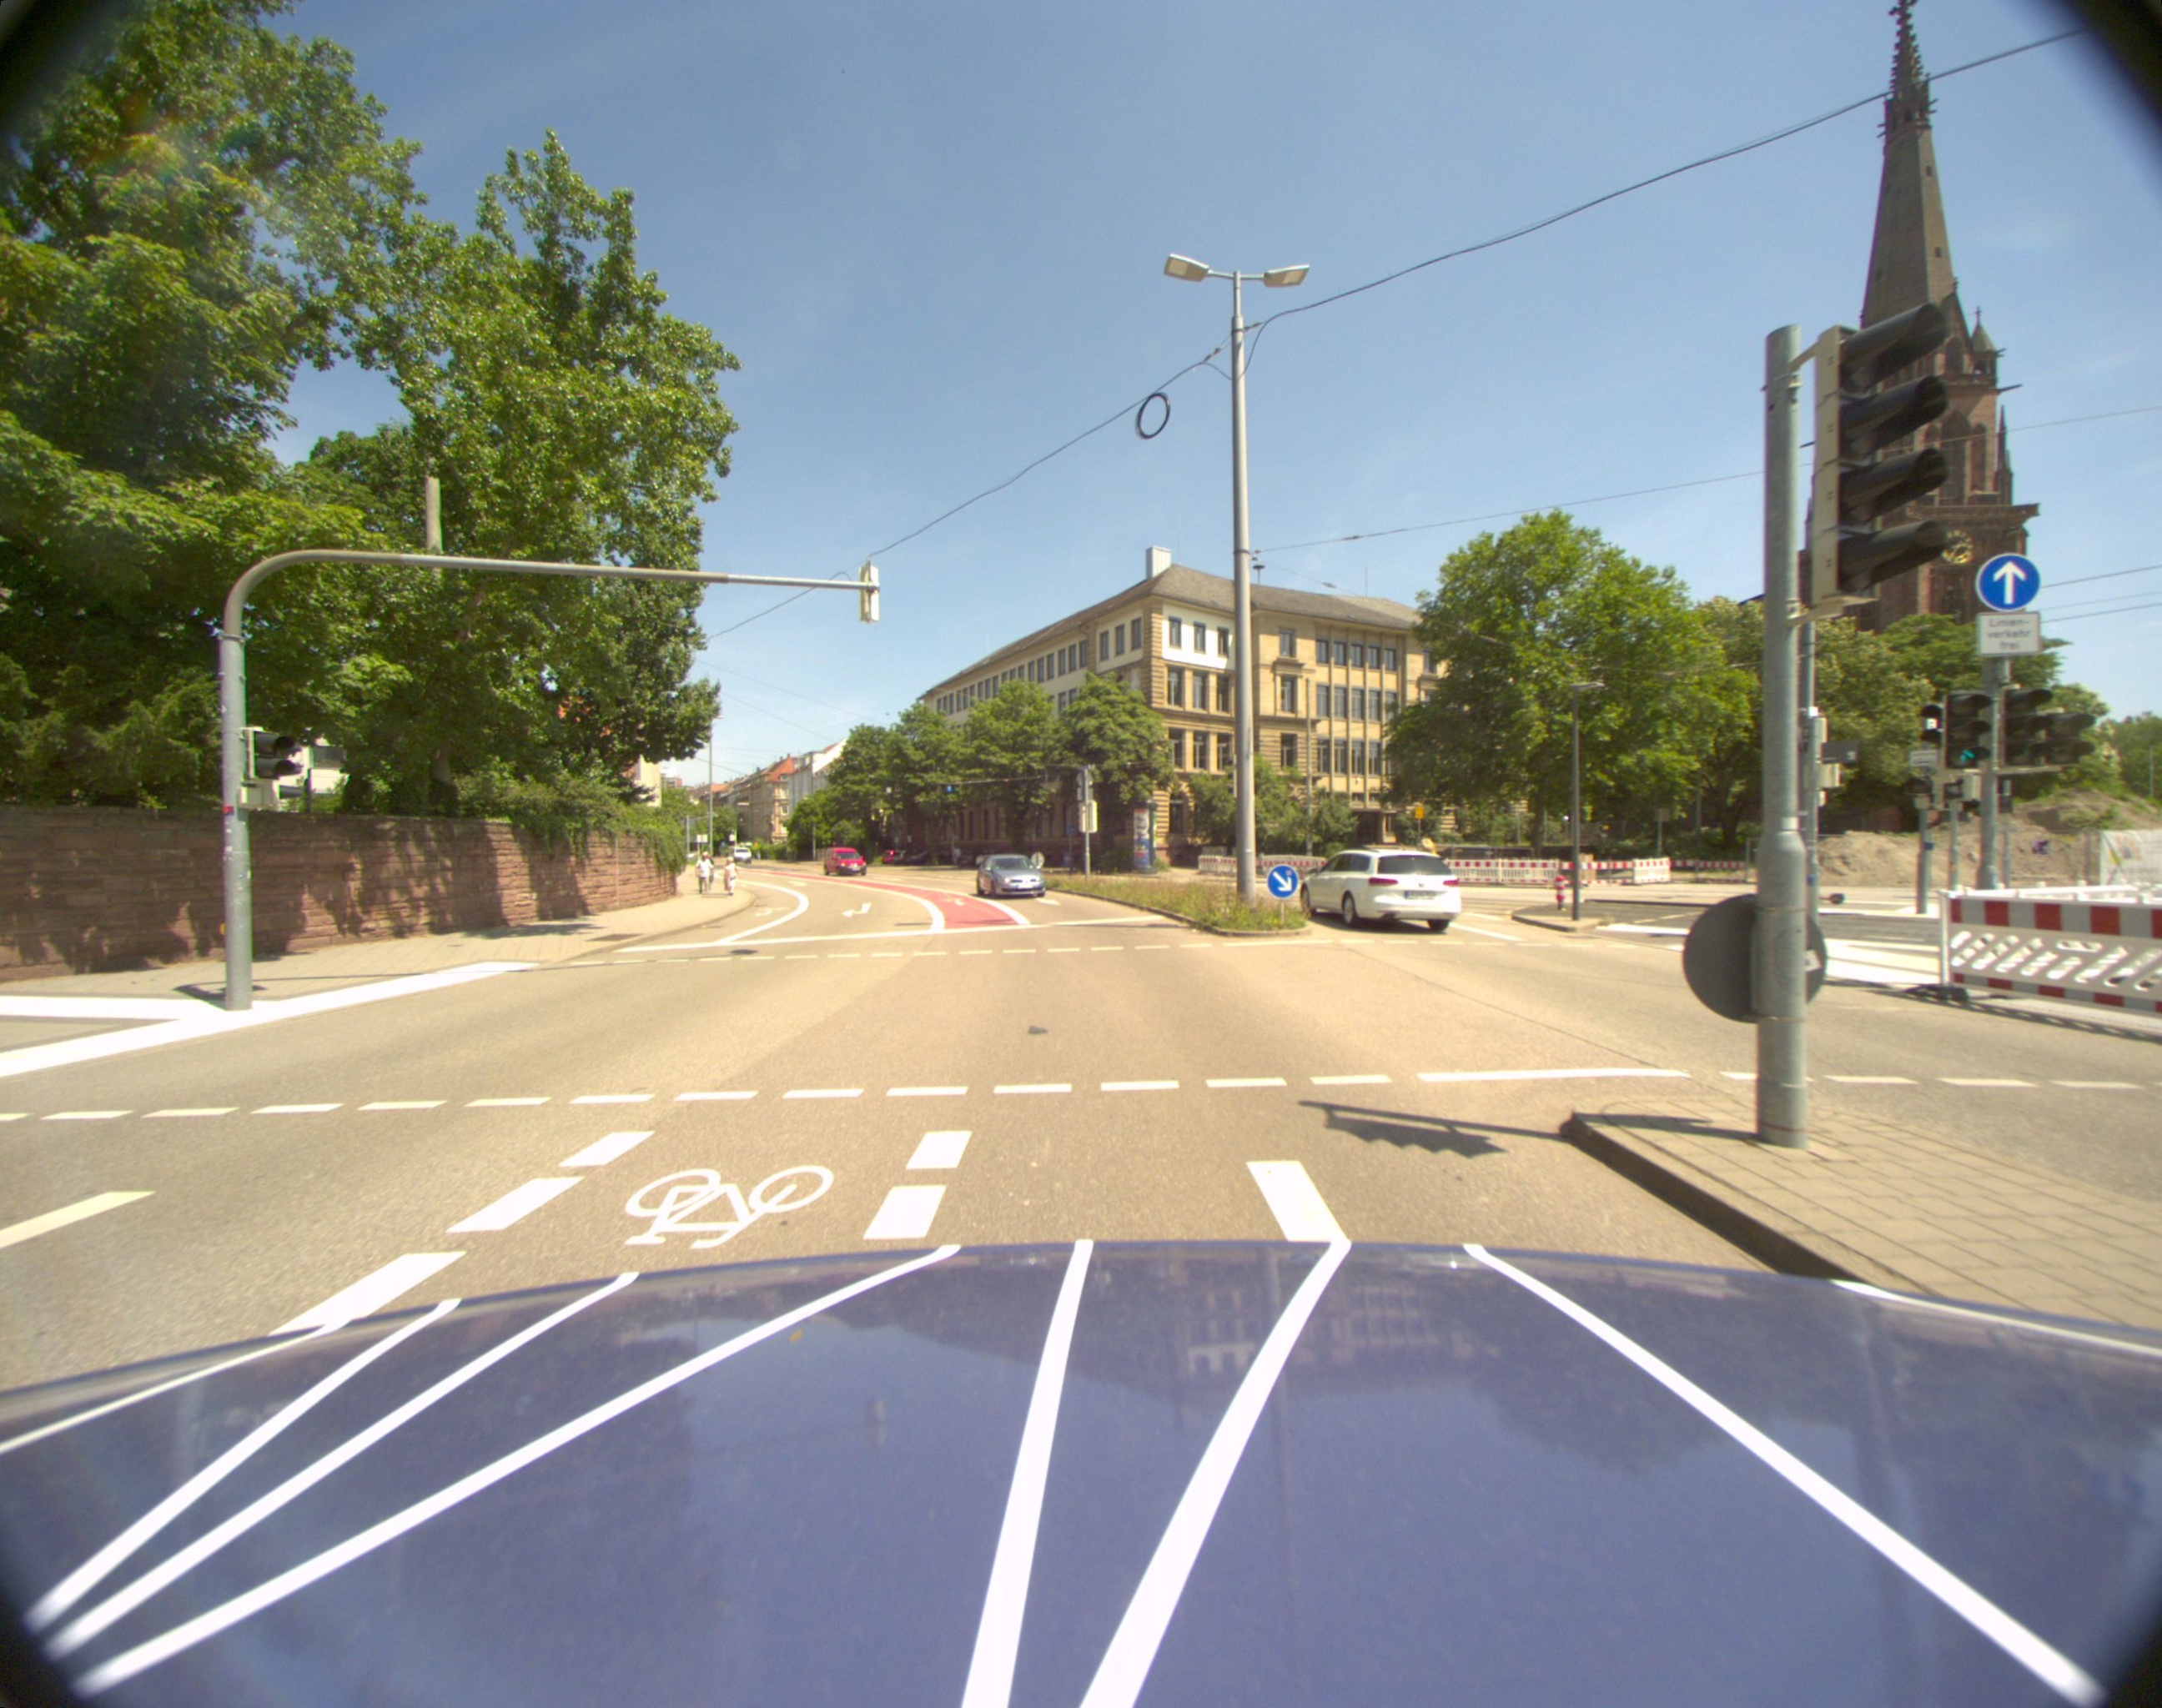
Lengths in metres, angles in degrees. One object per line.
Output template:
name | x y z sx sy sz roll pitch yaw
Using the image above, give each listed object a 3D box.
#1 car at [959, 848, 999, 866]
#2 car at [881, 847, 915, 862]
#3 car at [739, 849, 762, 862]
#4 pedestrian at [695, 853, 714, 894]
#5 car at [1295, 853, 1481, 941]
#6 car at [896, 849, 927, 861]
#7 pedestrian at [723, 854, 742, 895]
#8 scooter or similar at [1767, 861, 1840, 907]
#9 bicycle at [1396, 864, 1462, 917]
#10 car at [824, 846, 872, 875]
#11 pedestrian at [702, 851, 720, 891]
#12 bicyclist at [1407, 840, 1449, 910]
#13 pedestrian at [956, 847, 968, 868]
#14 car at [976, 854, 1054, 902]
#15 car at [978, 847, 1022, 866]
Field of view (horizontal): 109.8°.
car | -8.944 0.232 66.812 1.567 1.454 3.156 -2 1 39
car | -20.092 0.052 83.734 1.611 1.444 3.584 -2 1 28
car | -38.324 0.137 88.019 1.837 1.384 4.268 -1 1 -31
pedestrian | -14.907 0.789 30.060 0.606 1.601 0.557 1 -1 -31
car | 5.760 0.713 14.926 1.820 1.420 4.426 1 0 0
car | -17.848 0.135 80.174 1.277 1.093 2.995 -2 1 39
pedestrian | -13.669 0.797 29.777 0.606 1.601 0.557 1 -1 -31
scooter or similar | 17.987 0.732 18.946 0.339 1.054 1.447 -3 1 -4
bicycle | 8.404 0.855 18.466 0.589 1.143 2.009 1 1 -2
car | -15.288 0.440 49.755 1.836 1.756 4.269 -3 1 -33
pedestrian | -15.810 0.726 32.442 0.606 1.702 0.557 1 -1 -32
bicyclist | 8.406 0.497 18.406 0.587 1.656 0.798 1 1 -2
pedestrian | -9.626 0.289 61.443 0.725 1.661 0.642 -1 1 -29
car | -2.367 0.767 26.293 1.835 1.406 3.987 -2 1 -18
car | -6.901 0.226 64.735 1.567 1.412 3.559 -2 1 40
